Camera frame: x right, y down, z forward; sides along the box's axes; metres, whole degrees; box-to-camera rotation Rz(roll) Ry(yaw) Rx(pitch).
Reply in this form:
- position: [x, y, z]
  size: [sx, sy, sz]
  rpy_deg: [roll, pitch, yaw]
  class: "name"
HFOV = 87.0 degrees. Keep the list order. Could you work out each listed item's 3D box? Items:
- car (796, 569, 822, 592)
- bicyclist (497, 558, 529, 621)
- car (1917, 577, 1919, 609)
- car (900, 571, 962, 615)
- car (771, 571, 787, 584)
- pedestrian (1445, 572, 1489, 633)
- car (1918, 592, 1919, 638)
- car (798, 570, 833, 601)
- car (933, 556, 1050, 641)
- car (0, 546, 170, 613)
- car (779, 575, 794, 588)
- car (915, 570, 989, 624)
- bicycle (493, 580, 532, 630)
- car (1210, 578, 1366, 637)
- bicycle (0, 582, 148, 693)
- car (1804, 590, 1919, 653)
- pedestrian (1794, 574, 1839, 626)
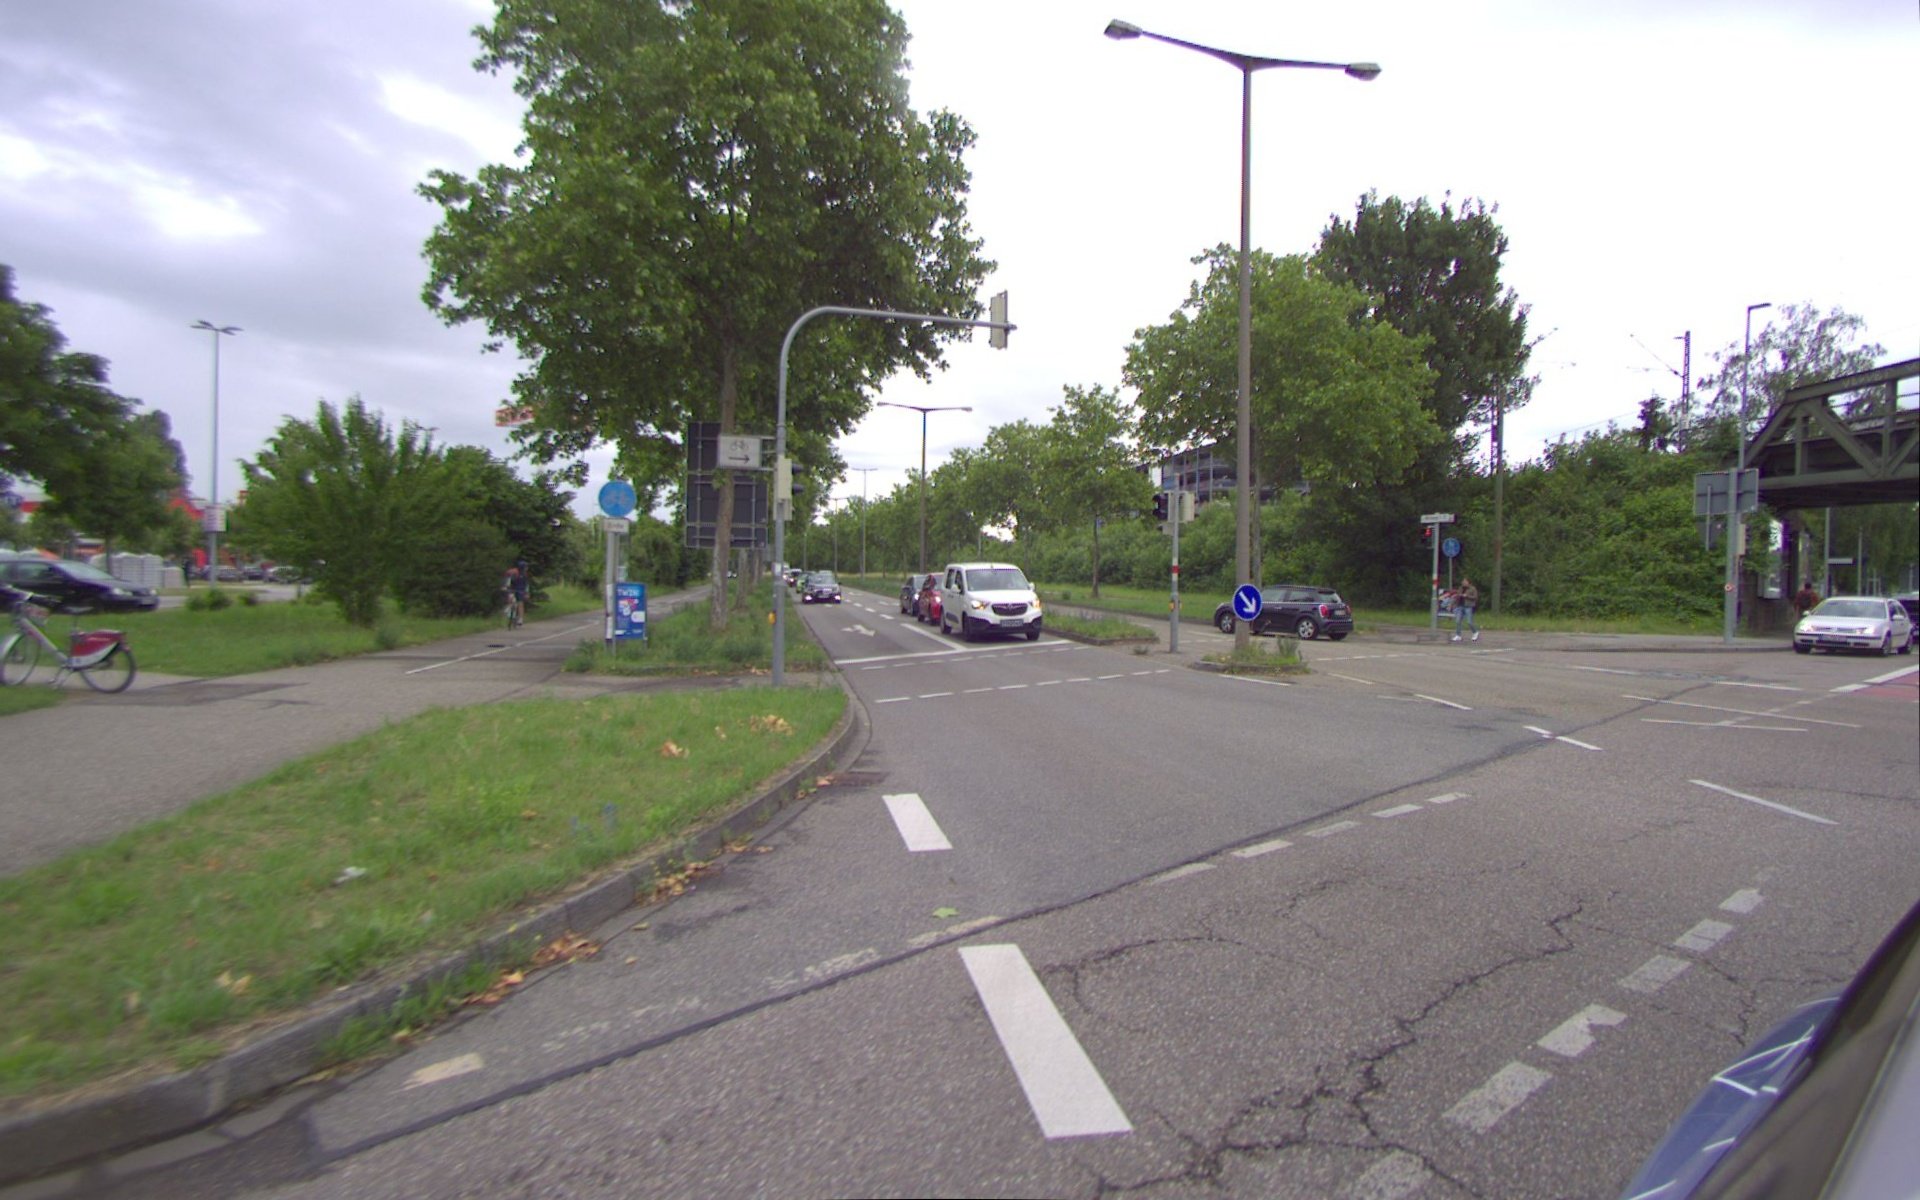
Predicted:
- position: [-10.617, -1.345, 71.145]
  size: [1.749, 1.552, 4.006]
  rpy_deg: [-1, 0, -9]
  class: "car"
- position: [-11.054, -0.270, 25.045]
  size: [0.570, 1.538, 0.761]
  rpy_deg: [1, 1, -14]
  class: "bicyclist"
- position: [56.154, -0.379, 57.805]
  size: [1.989, 1.872, 4.041]
  rpy_deg: [2, 1, 42]
  class: "car"
- position: [-1.111, -0.291, 36.546]
  size: [1.661, 1.500, 4.074]
  rpy_deg: [1, 1, -10]
  class: "car"
- position: [-21.916, -2.695, 122.644]
  size: [1.749, 1.552, 4.006]
  rpy_deg: [-1, 0, -9]
  class: "car"
- position: [14.028, 0.072, 28.015]
  size: [0.763, 1.660, 0.745]
  rpy_deg: [1, 1, -5]
  class: "pedestrian"
- position: [32.129, 0.463, 32.554]
  size: [1.833, 1.442, 3.935]
  rpy_deg: [0, 0, 45]
  class: "car"
- position: [-7.458, -0.763, 52.055]
  size: [1.661, 1.500, 4.074]
  rpy_deg: [1, 1, -10]
  class: "car"
- position: [0.659, -0.107, 24.632]
  size: [1.841, 1.851, 4.431]
  rpy_deg: [-1, 2, -12]
  class: "car"
- position: [-21.742, -0.473, 24.188]
  size: [4.148, 1.516, 1.829]
  rpy_deg: [-1, 0, -9]
  class: "car"
- position: [-21.250, -2.252, 123.947]
  size: [1.749, 1.552, 4.006]
  rpy_deg: [-1, 0, -9]
  class: "car"
- position: [-0.311, -0.132, 30.975]
  size: [1.661, 1.550, 3.696]
  rpy_deg: [1, 1, -10]
  class: "car"
- position: [-11.092, 0.100, 25.142]
  size: [0.570, 1.163, 1.899]
  rpy_deg: [1, 1, -14]
  class: "bicycle"
- position: [8.927, 0.184, 27.742]
  size: [1.654, 1.449, 3.771]
  rpy_deg: [2, 0, -38]
  class: "car"
- position: [-9.809, 0.389, 10.969]
  size: [1.777, 1.132, 0.487]
  rpy_deg: [1, 1, 8]
  class: "bicycle"
- position: [22.526, 0.481, 25.092]
  size: [3.869, 1.442, 1.726]
  rpy_deg: [0, 0, -39]
  class: "car"
- position: [29.954, -0.022, 35.404]
  size: [0.860, 1.781, 0.786]
  rpy_deg: [1, 1, 8]
  class: "pedestrian"
